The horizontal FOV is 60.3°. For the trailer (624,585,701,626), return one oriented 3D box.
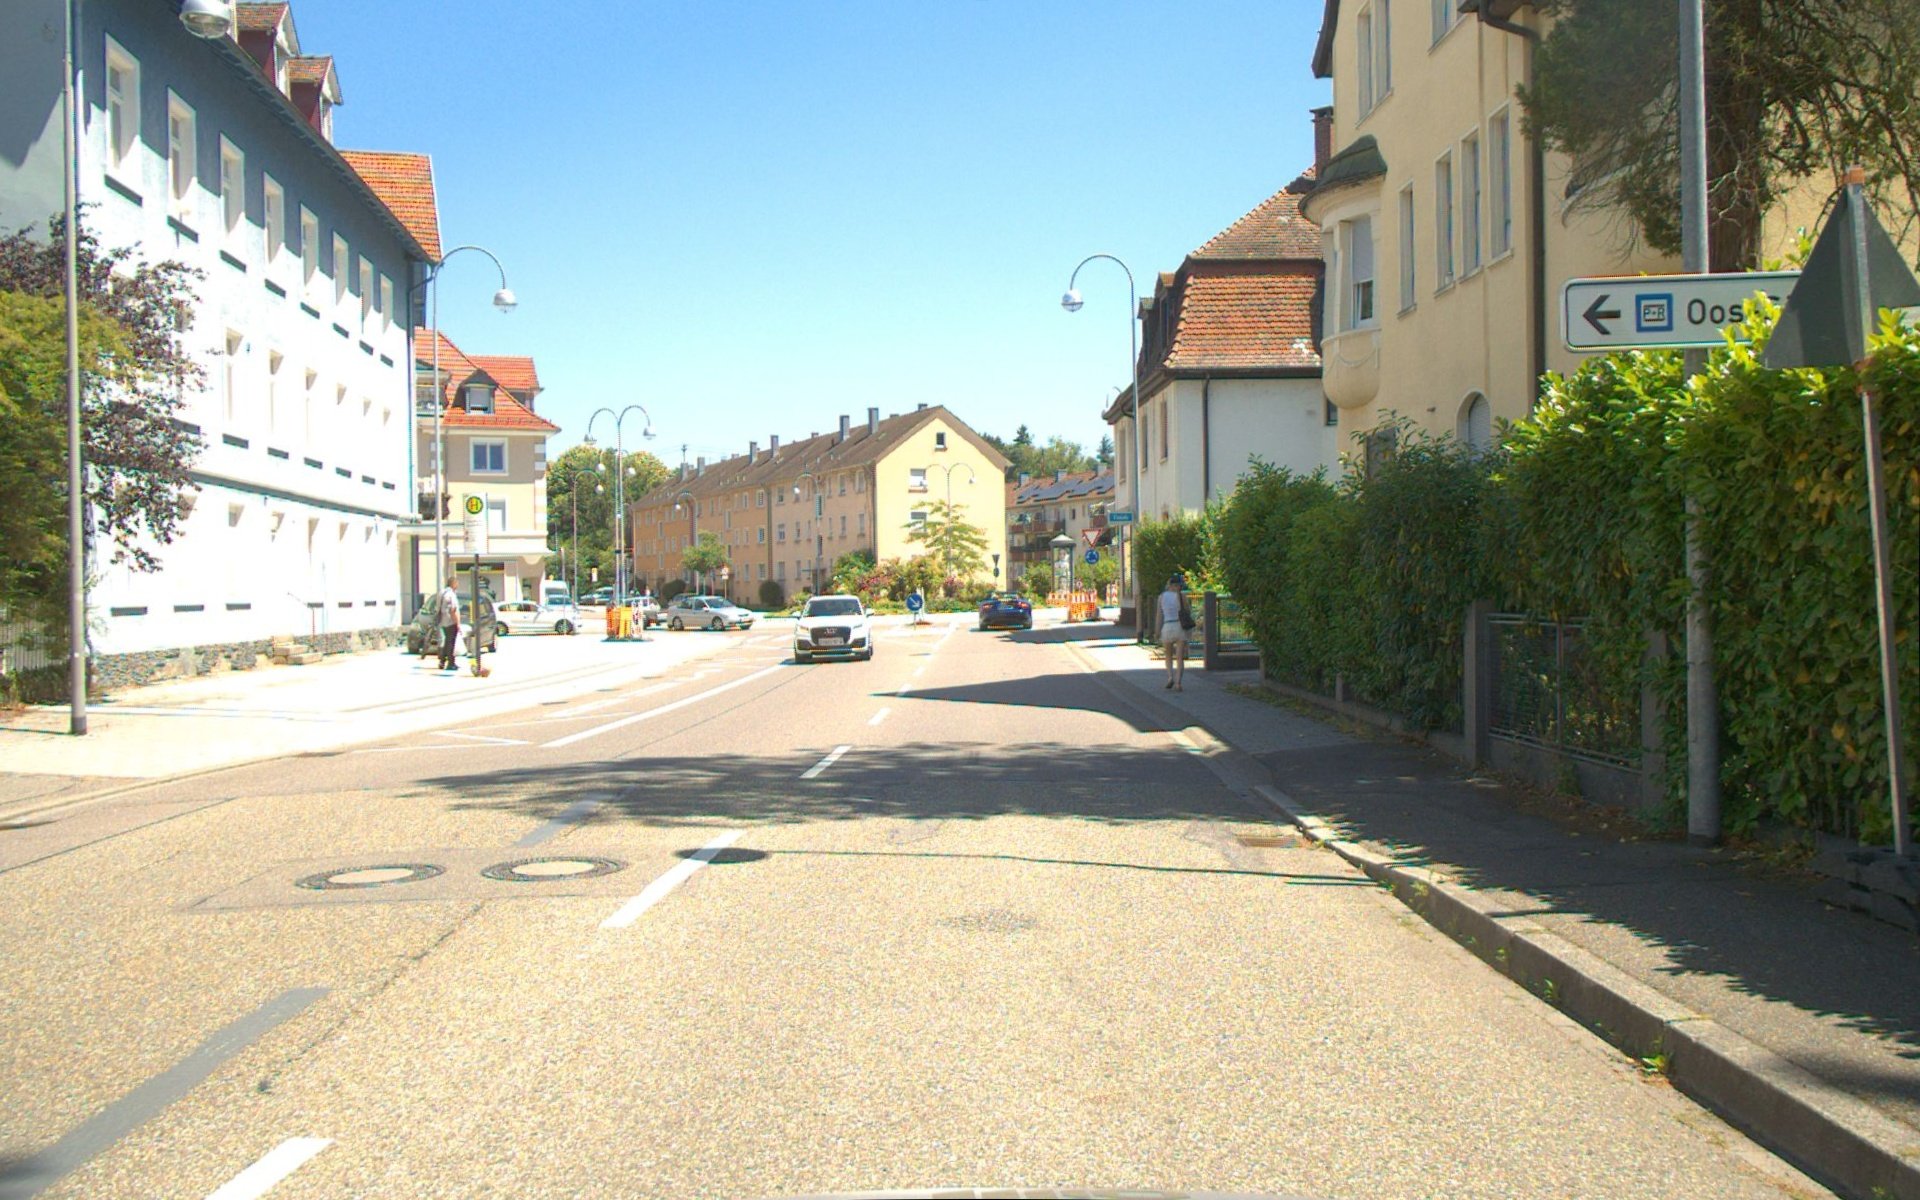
[{"bbox_3d":[-12.958,0.248,71.910,3.139,1.747,1.747,0,-1,41],"label":"trailer"}]

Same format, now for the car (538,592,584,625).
[{"bbox_3d":[-21.895,0.444,90.570,1.751,1.715,4.662,-1,0,-22],"label":"car"}]

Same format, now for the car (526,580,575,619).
[{"bbox_3d":[-27.790,0.000,112.156,2.117,2.577,6.189,1,-1,-24],"label":"car"}]

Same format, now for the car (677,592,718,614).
[{"bbox_3d":[-19.246,0.234,121.047,1.792,1.526,3.963,1,-1,-28],"label":"car"}]

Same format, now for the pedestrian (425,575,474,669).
[{"bbox_3d":[-10.405,0.443,33.739,0.741,1.880,0.771,2,-1,-7],"label":"pedestrian"}]

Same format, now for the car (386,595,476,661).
[{"bbox_3d":[-13.198,0.710,41.429,1.548,1.561,3.767,-1,-1,-9],"label":"car"}]

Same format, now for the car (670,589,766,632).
[{"bbox_3d":[-10.185,0.439,69.494,4.053,1.777,1.777,0,-1,41],"label":"car"}]

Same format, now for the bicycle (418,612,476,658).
[{"bbox_3d":[-11.673,0.788,37.685,0.485,0.994,1.974,3,0,5],"label":"bicycle"}]

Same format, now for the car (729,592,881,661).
[{"bbox_3d":[-3.746,0.650,39.406,1.808,1.557,3.896,0,-2,-38],"label":"car"}]

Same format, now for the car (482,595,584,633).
[{"bbox_3d":[-17.931,0.591,69.675,4.042,1.578,1.782,0,0,-12],"label":"car"}]

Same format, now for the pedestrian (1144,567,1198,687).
[{"bbox_3d":[3.029,0.383,23.814,0.611,1.672,0.771,-1,0,-3],"label":"pedestrian"}]

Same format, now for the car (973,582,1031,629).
[{"bbox_3d":[1.461,0.234,59.185,1.833,1.557,4.505,-1,-1,-1],"label":"car"}]
